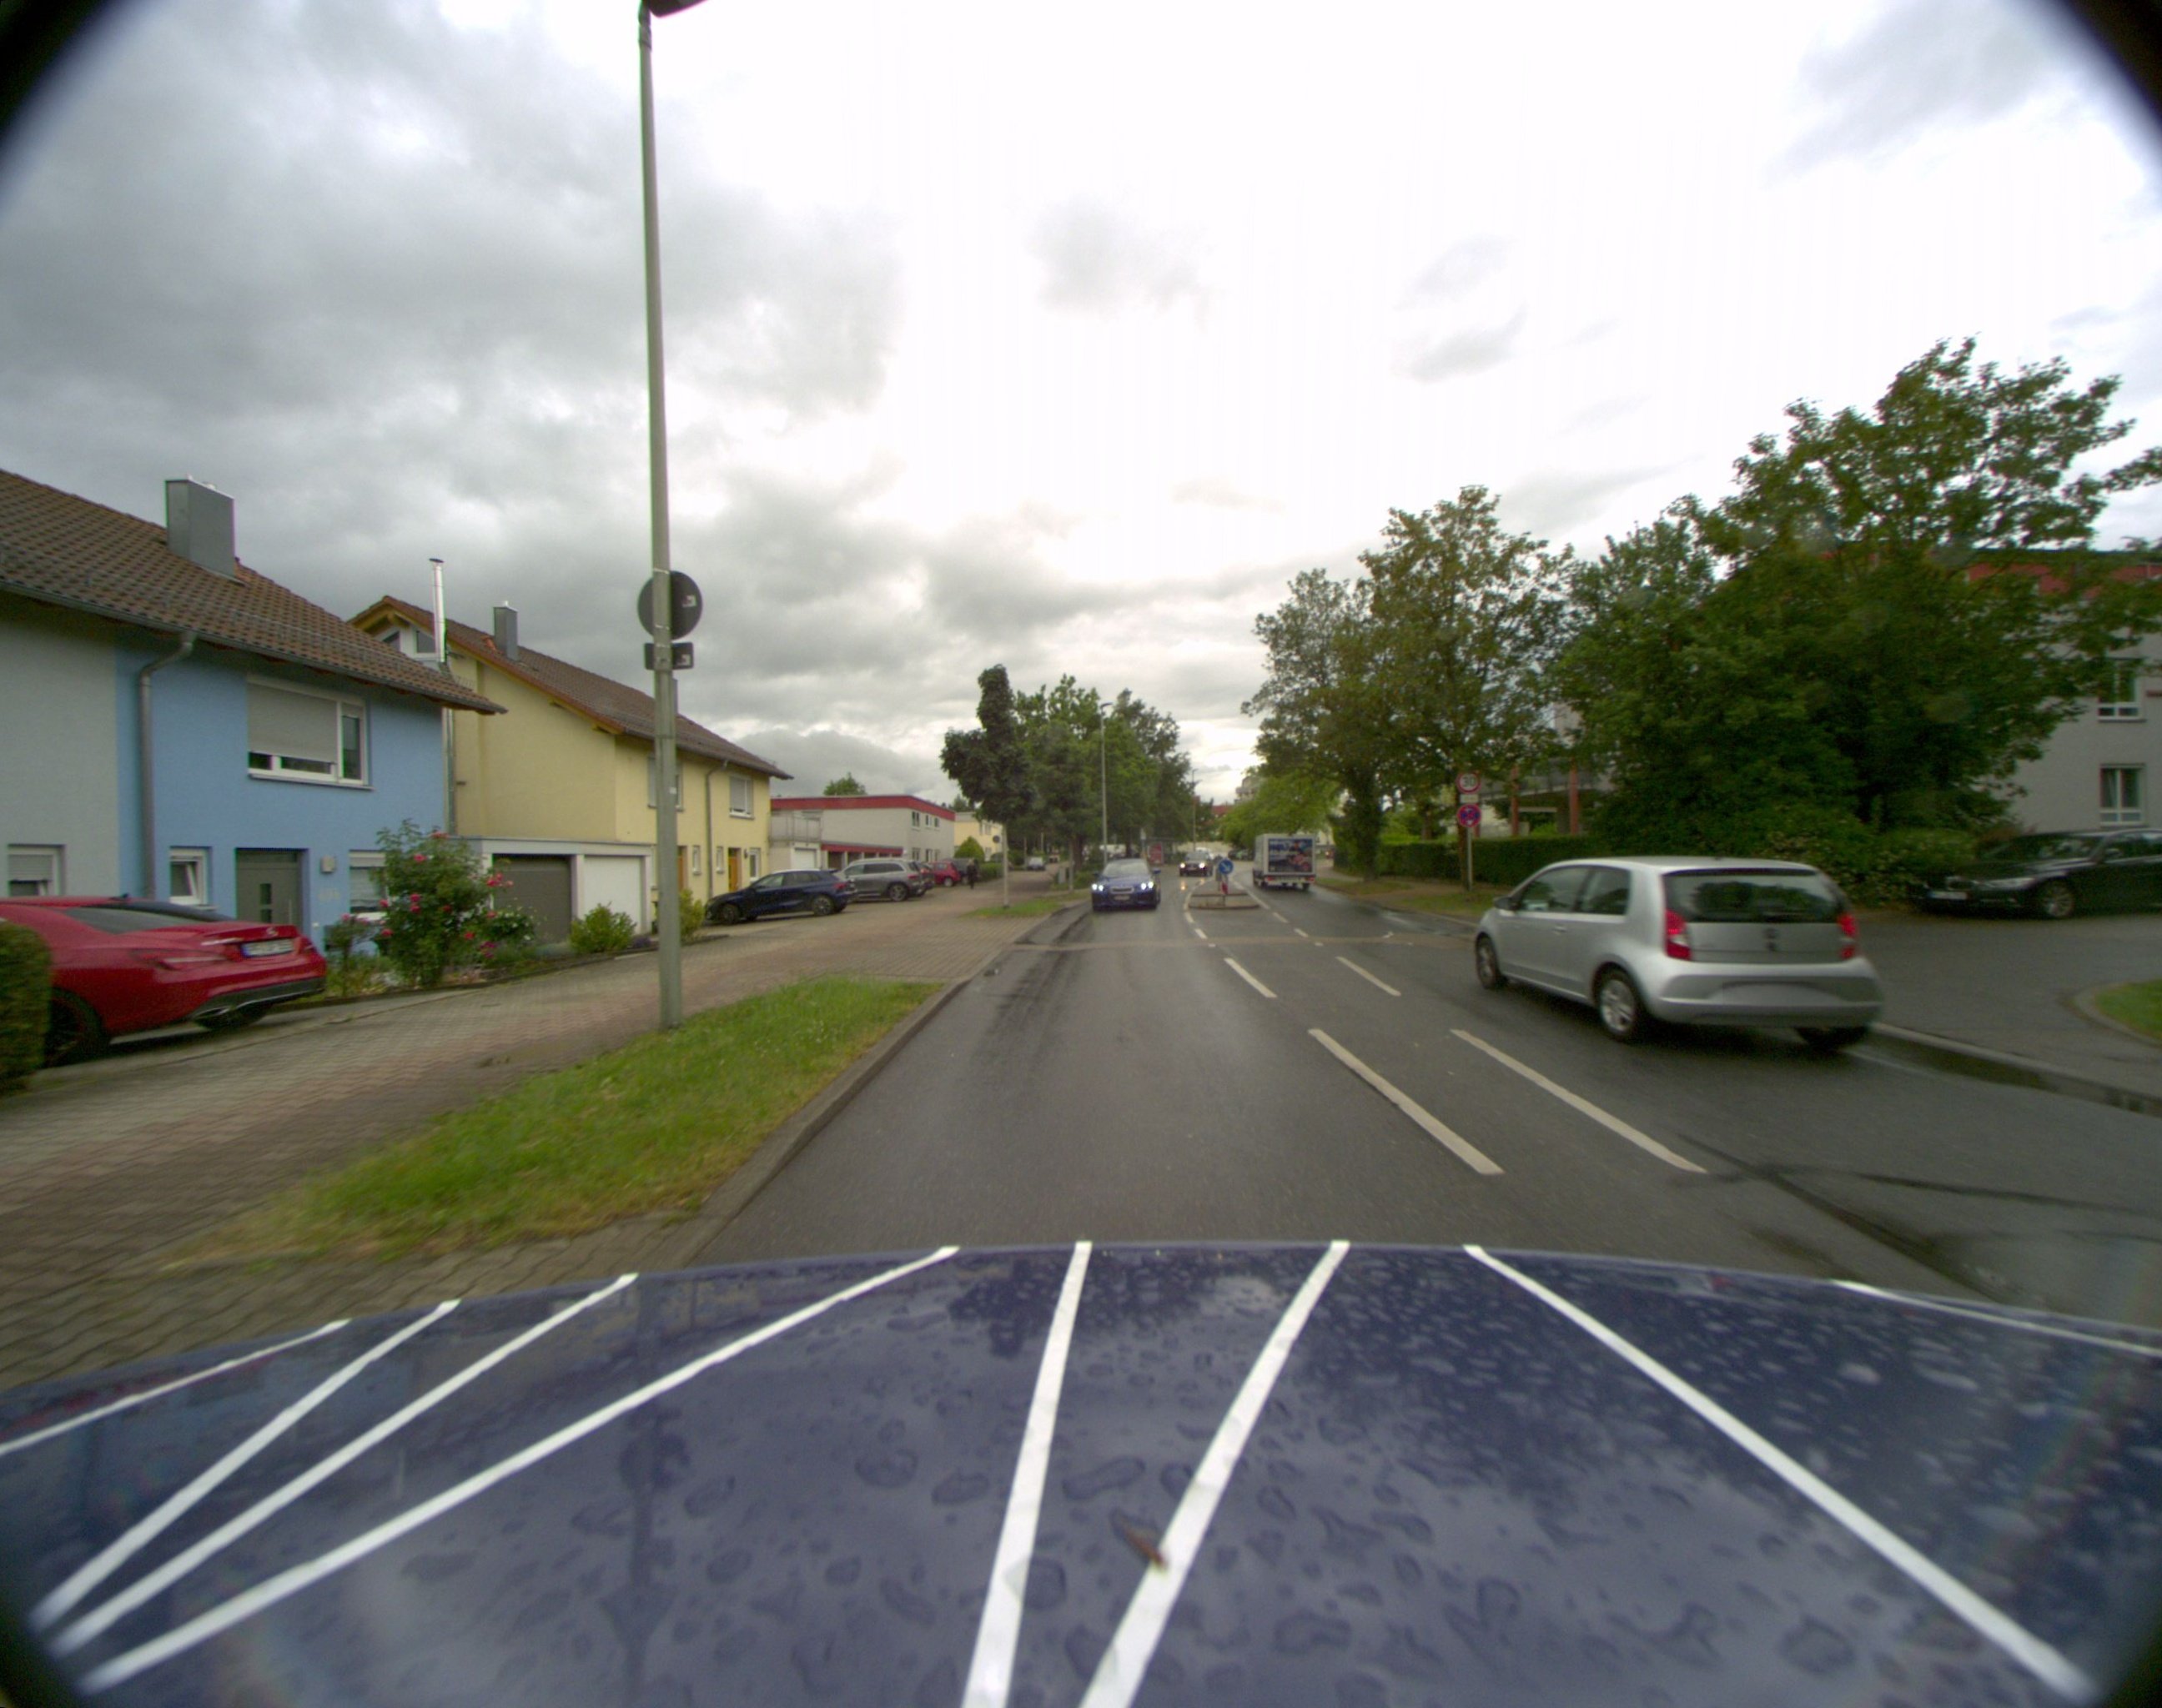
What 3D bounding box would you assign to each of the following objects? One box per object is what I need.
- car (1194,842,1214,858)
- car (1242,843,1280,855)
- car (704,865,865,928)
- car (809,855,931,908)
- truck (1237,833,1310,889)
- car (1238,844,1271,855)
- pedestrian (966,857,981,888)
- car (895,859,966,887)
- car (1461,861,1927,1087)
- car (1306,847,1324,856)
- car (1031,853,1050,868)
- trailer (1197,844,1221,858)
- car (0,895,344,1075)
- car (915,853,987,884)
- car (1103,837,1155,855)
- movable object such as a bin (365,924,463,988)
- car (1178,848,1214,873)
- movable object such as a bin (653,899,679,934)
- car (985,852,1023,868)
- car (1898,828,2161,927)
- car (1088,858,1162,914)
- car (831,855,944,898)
[{"bbox_3d":[14.797,-0.474,91.801,1.998,1.870,4.213,-2,1,5],"label":"car"},{"bbox_3d":[23.678,-0.657,100.157,4.575,1.434,1.767,-1,1,30],"label":"car"},{"bbox_3d":[-8.675,1.224,22.503,3.998,1.379,1.674,-6,0,-4],"label":"car"},{"bbox_3d":[-8.073,1.016,29.368,4.192,1.662,1.721,-4,1,-6],"label":"car"},{"bbox_3d":[8.324,0.305,33.473,2.221,2.190,6.468,1,0,6],"label":"truck"},{"bbox_3d":[23.672,-0.666,103.588,4.012,1.434,1.767,-1,1,30],"label":"car"},{"bbox_3d":[-5.606,0.963,39.758,0.666,1.549,0.842,-2,1,-4],"label":"pedestrian"},{"bbox_3d":[-8.658,1.094,43.787,3.701,1.433,1.707,-2,1,-1],"label":"car"},{"bbox_3d":[4.979,0.837,6.846,1.597,1.455,3.454,-2,0,5],"label":"car"},{"bbox_3d":[39.666,-0.416,128.748,1.745,1.472,3.768,-1,1,-1],"label":"car"},{"bbox_3d":[-4.350,0.705,81.806,1.691,1.501,3.826,-2,1,2],"label":"car"},{"bbox_3d":[14.394,-0.347,85.764,1.998,1.534,4.426,-2,1,2],"label":"trailer"},{"bbox_3d":[-9.500,1.147,6.480,4.318,1.253,1.677,-3,0,-12],"label":"car"},{"bbox_3d":[-7.911,0.889,46.378,3.997,1.711,1.924,-2,1,-1],"label":"car"},{"bbox_3d":[5.688,-0.969,89.938,5.824,2.002,2.003,-1,1,25],"label":"car"},{"bbox_3d":[-11.287,1.714,12.885,0.895,0.958,0.817,-2,0,2],"label":"movable object such as a bin"},{"bbox_3d":[7.288,0.374,47.797,1.838,1.440,4.004,-2,0,14],"label":"car"},{"bbox_3d":[-11.449,1.715,20.979,0.483,0.917,0.366,-6,3,-42],"label":"movable object such as a bin"},{"bbox_3d":[-7.733,0.634,76.426,3.621,1.524,1.762,1,0,-2],"label":"car"},{"bbox_3d":[16.894,0.348,13.063,4.026,1.465,1.693,-2,1,-3],"label":"car"},{"bbox_3d":[1.425,0.908,23.010,1.912,1.425,4.303,-3,-1,6],"label":"car"},{"bbox_3d":[-8.174,0.935,32.331,4.189,1.662,1.991,-2,1,2],"label":"car"}]
